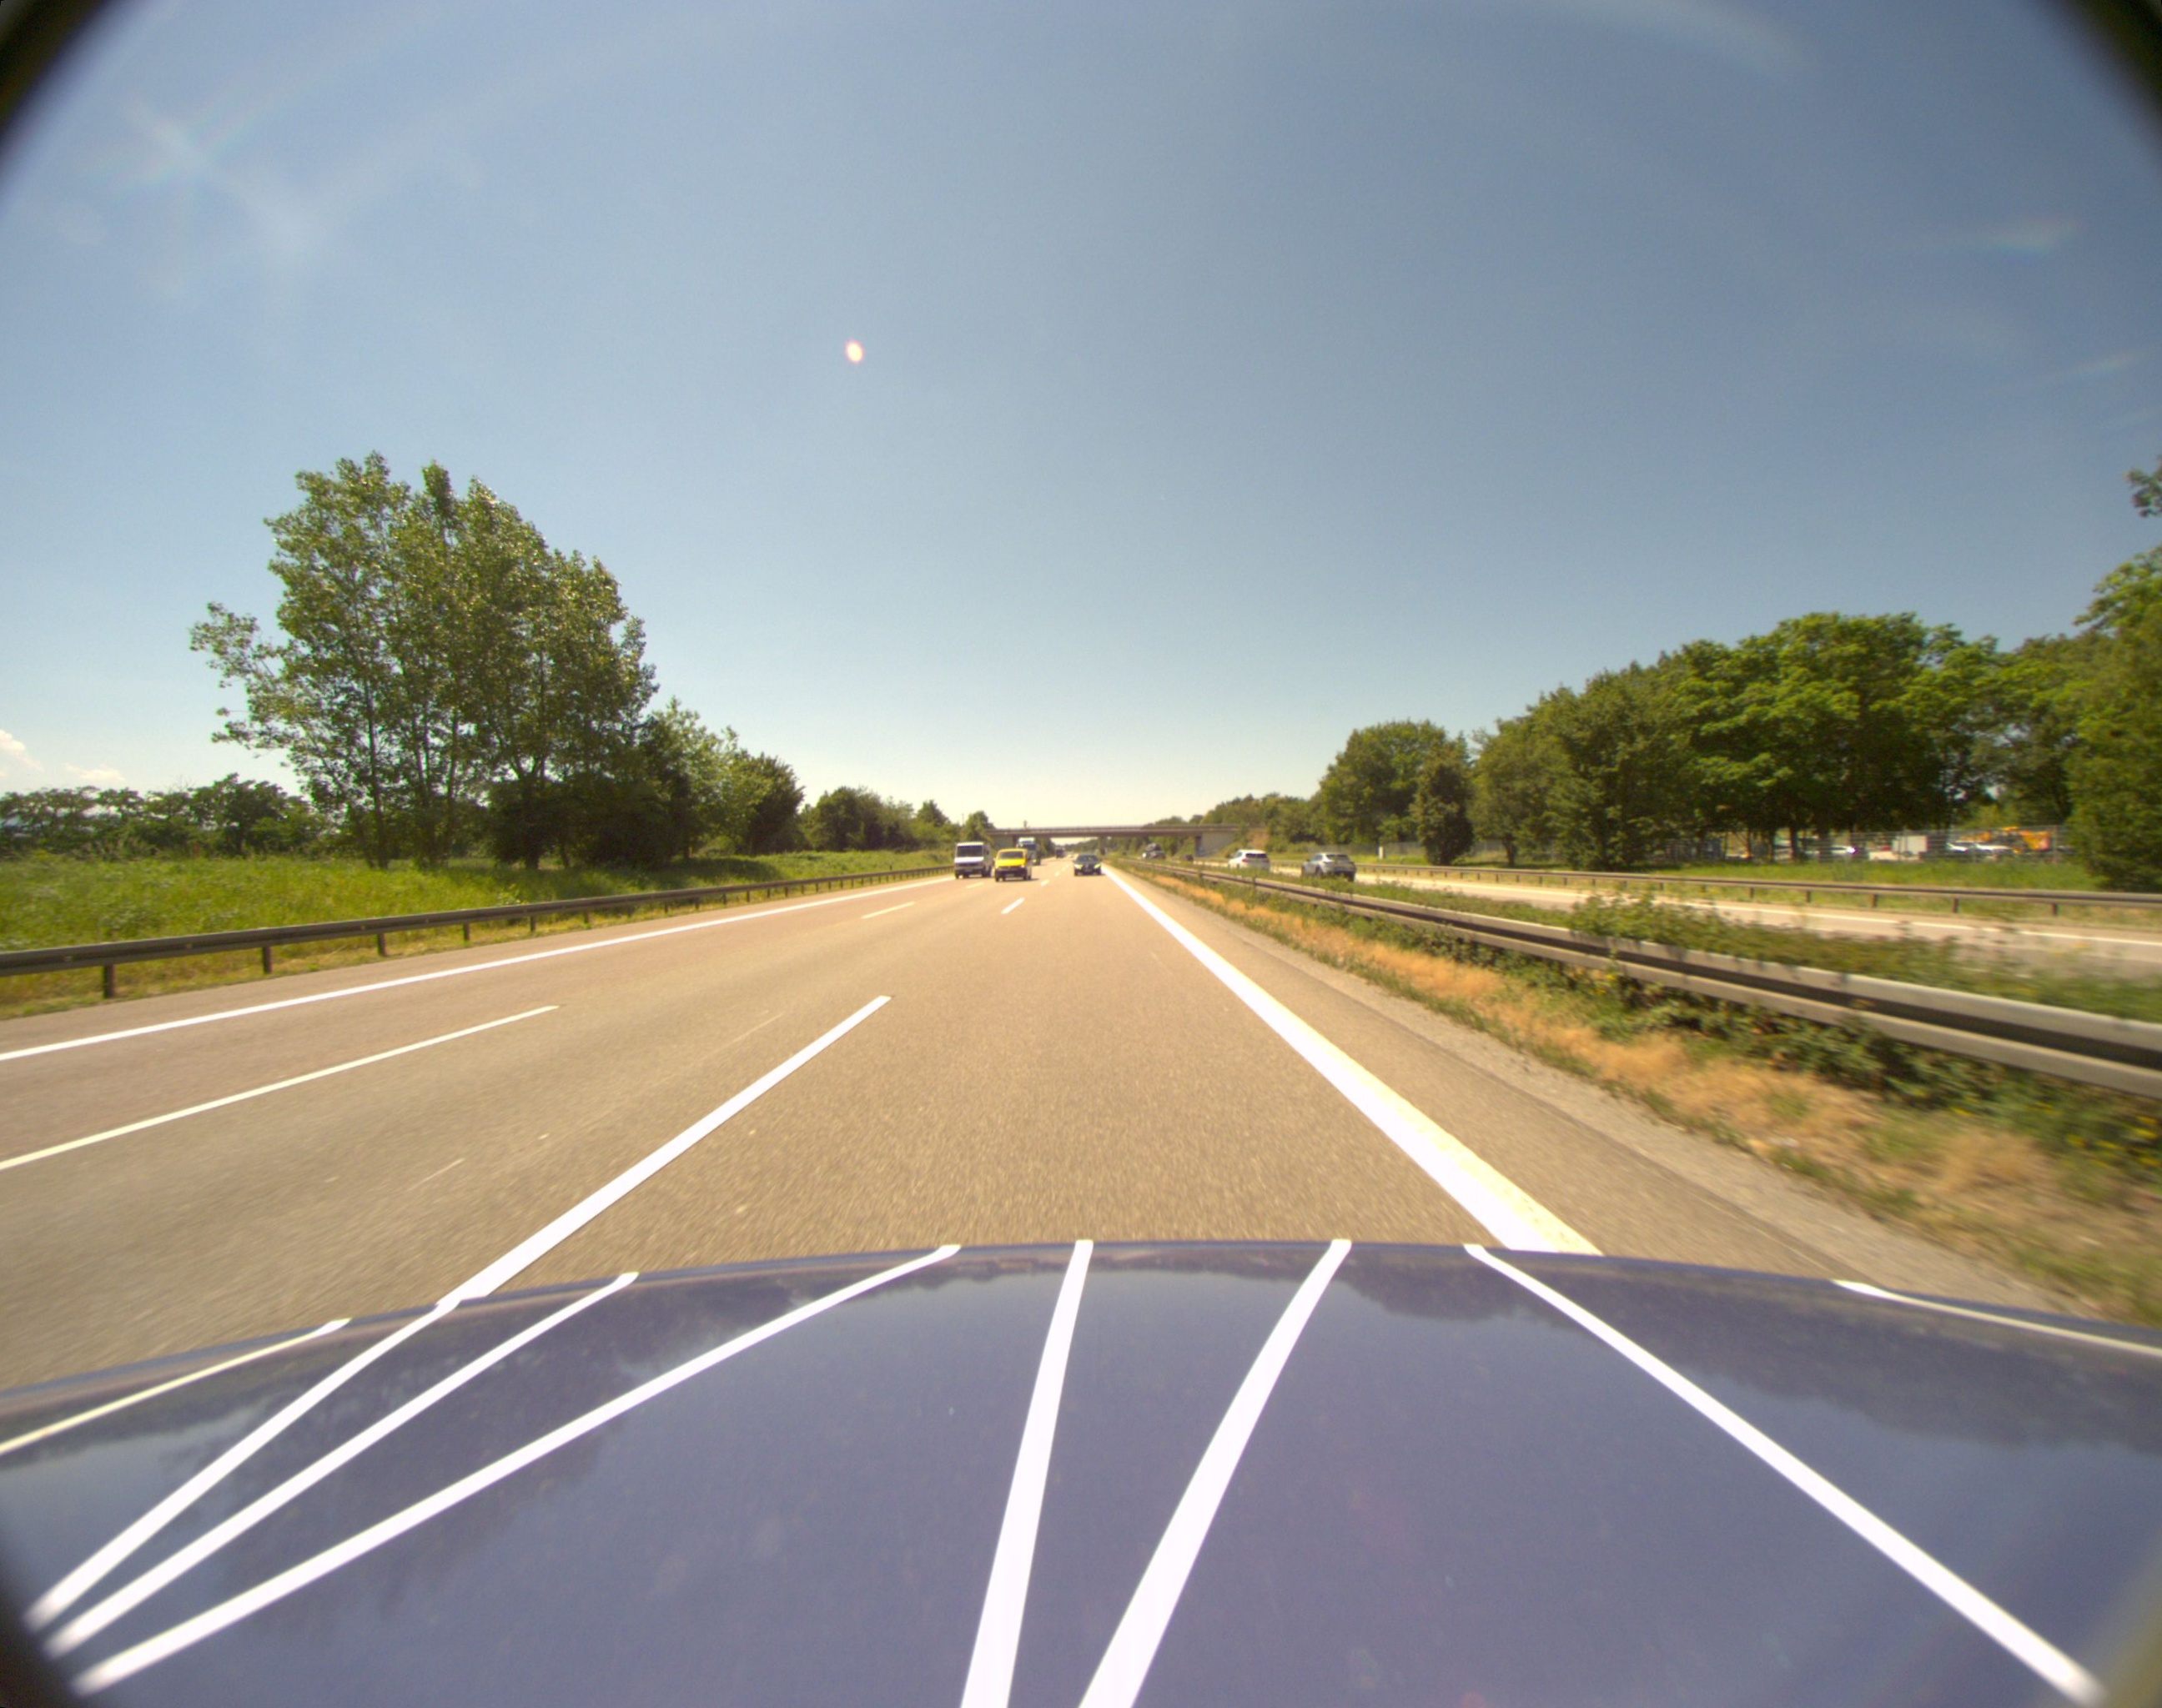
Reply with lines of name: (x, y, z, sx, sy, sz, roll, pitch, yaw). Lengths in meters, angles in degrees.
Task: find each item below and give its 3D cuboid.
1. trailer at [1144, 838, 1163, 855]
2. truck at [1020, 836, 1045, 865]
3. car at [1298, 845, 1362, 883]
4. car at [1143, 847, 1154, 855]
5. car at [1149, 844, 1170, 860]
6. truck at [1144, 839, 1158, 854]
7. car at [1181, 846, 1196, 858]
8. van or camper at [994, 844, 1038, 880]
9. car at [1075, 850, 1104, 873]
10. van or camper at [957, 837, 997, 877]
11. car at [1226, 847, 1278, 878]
trailer: (18.304, -1.790, 192.337, 2.886, 3.955, 17.471, 2, 0, 0)
truck: (-7.085, -0.552, 112.868, 2.806, 4.022, 13.352, -3, 1, 0)
car: (12.857, 0.483, 39.550, 1.877, 1.783, 4.423, -3, 1, 1)
car: (13.647, -0.591, 154.542, 1.797, 1.569, 4.211, 0, 1, -1)
car: (9.901, -0.252, 96.280, 1.998, 1.875, 5.647, -3, 1, 0)
truck: (18.278, -1.926, 198.590, 2.886, 3.952, 7.371, 2, 1, 0)
car: (17.976, -0.351, 127.129, 1.998, 2.002, 4.271, 0, 1, 0)
van or camper: (-3.935, 0.451, 46.946, 2.063, 1.992, 5.883, -2, 0, 1)
car: (0.569, 0.493, 52.399, 1.894, 1.541, 4.038, 0, 1, -1)
van or camper: (-7.712, 0.184, 56.920, 2.119, 2.687, 6.366, -2, 1, 0)
car: (10.095, 0.461, 45.208, 1.998, 1.630, 4.572, -3, 1, 1)
